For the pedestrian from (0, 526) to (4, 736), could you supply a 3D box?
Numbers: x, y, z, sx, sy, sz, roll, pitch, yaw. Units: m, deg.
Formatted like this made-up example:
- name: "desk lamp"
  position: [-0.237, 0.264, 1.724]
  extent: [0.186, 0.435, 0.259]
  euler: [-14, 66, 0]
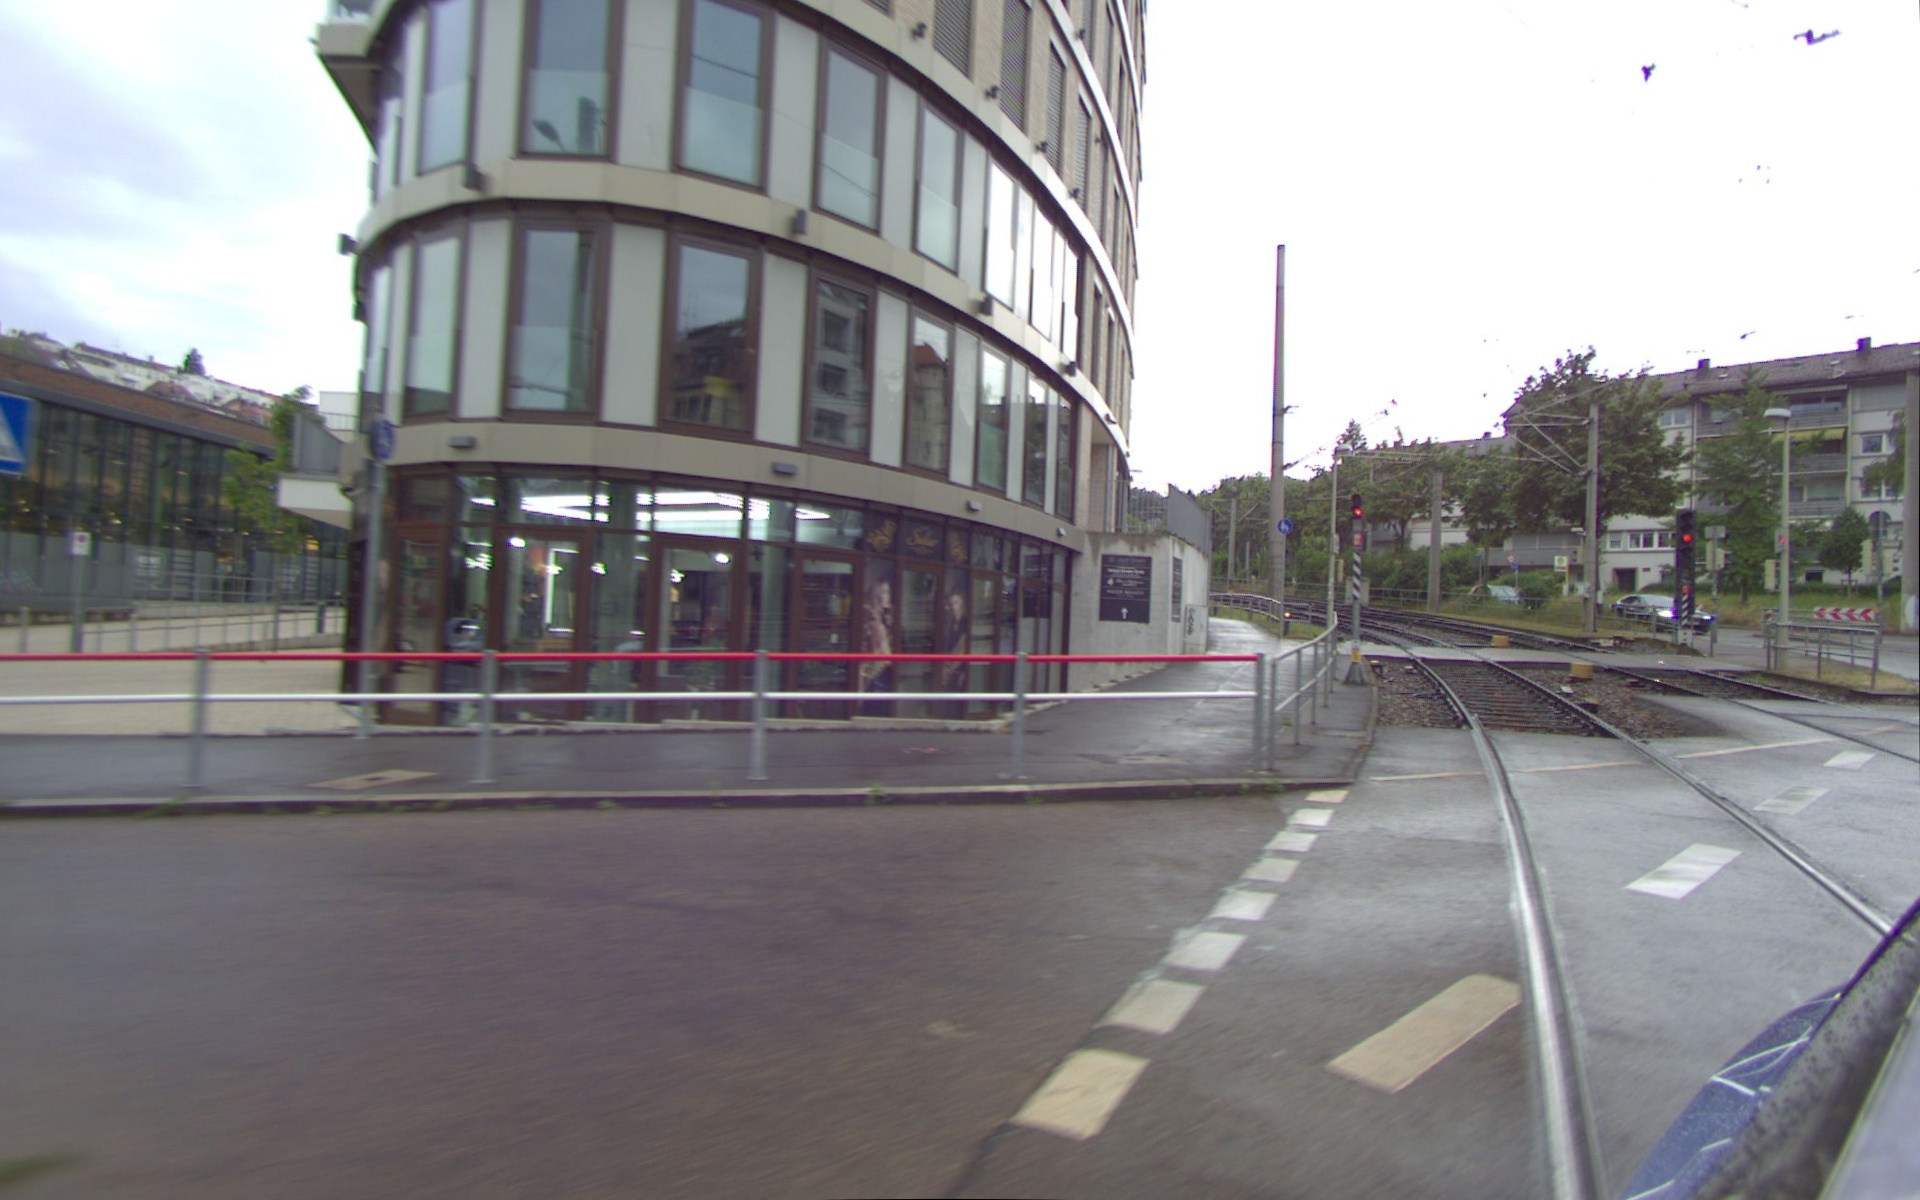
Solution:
- name: "pedestrian"
  position: [-9.802, 0.301, 9.710]
  extent: [0.591, 2.039, 0.878]
  euler: [0, 0, 41]

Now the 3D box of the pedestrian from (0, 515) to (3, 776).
- name: "pedestrian"
  position: [-7.967, 0.351, 7.695]
  extent: [0.653, 2.039, 0.881]
  euler: [1, 1, 33]

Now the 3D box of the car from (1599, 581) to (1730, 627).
- name: "car"
  position: [26.930, 0.121, 38.878]
  extent: [1.778, 1.636, 4.307]
  euler: [-1, 0, -4]
